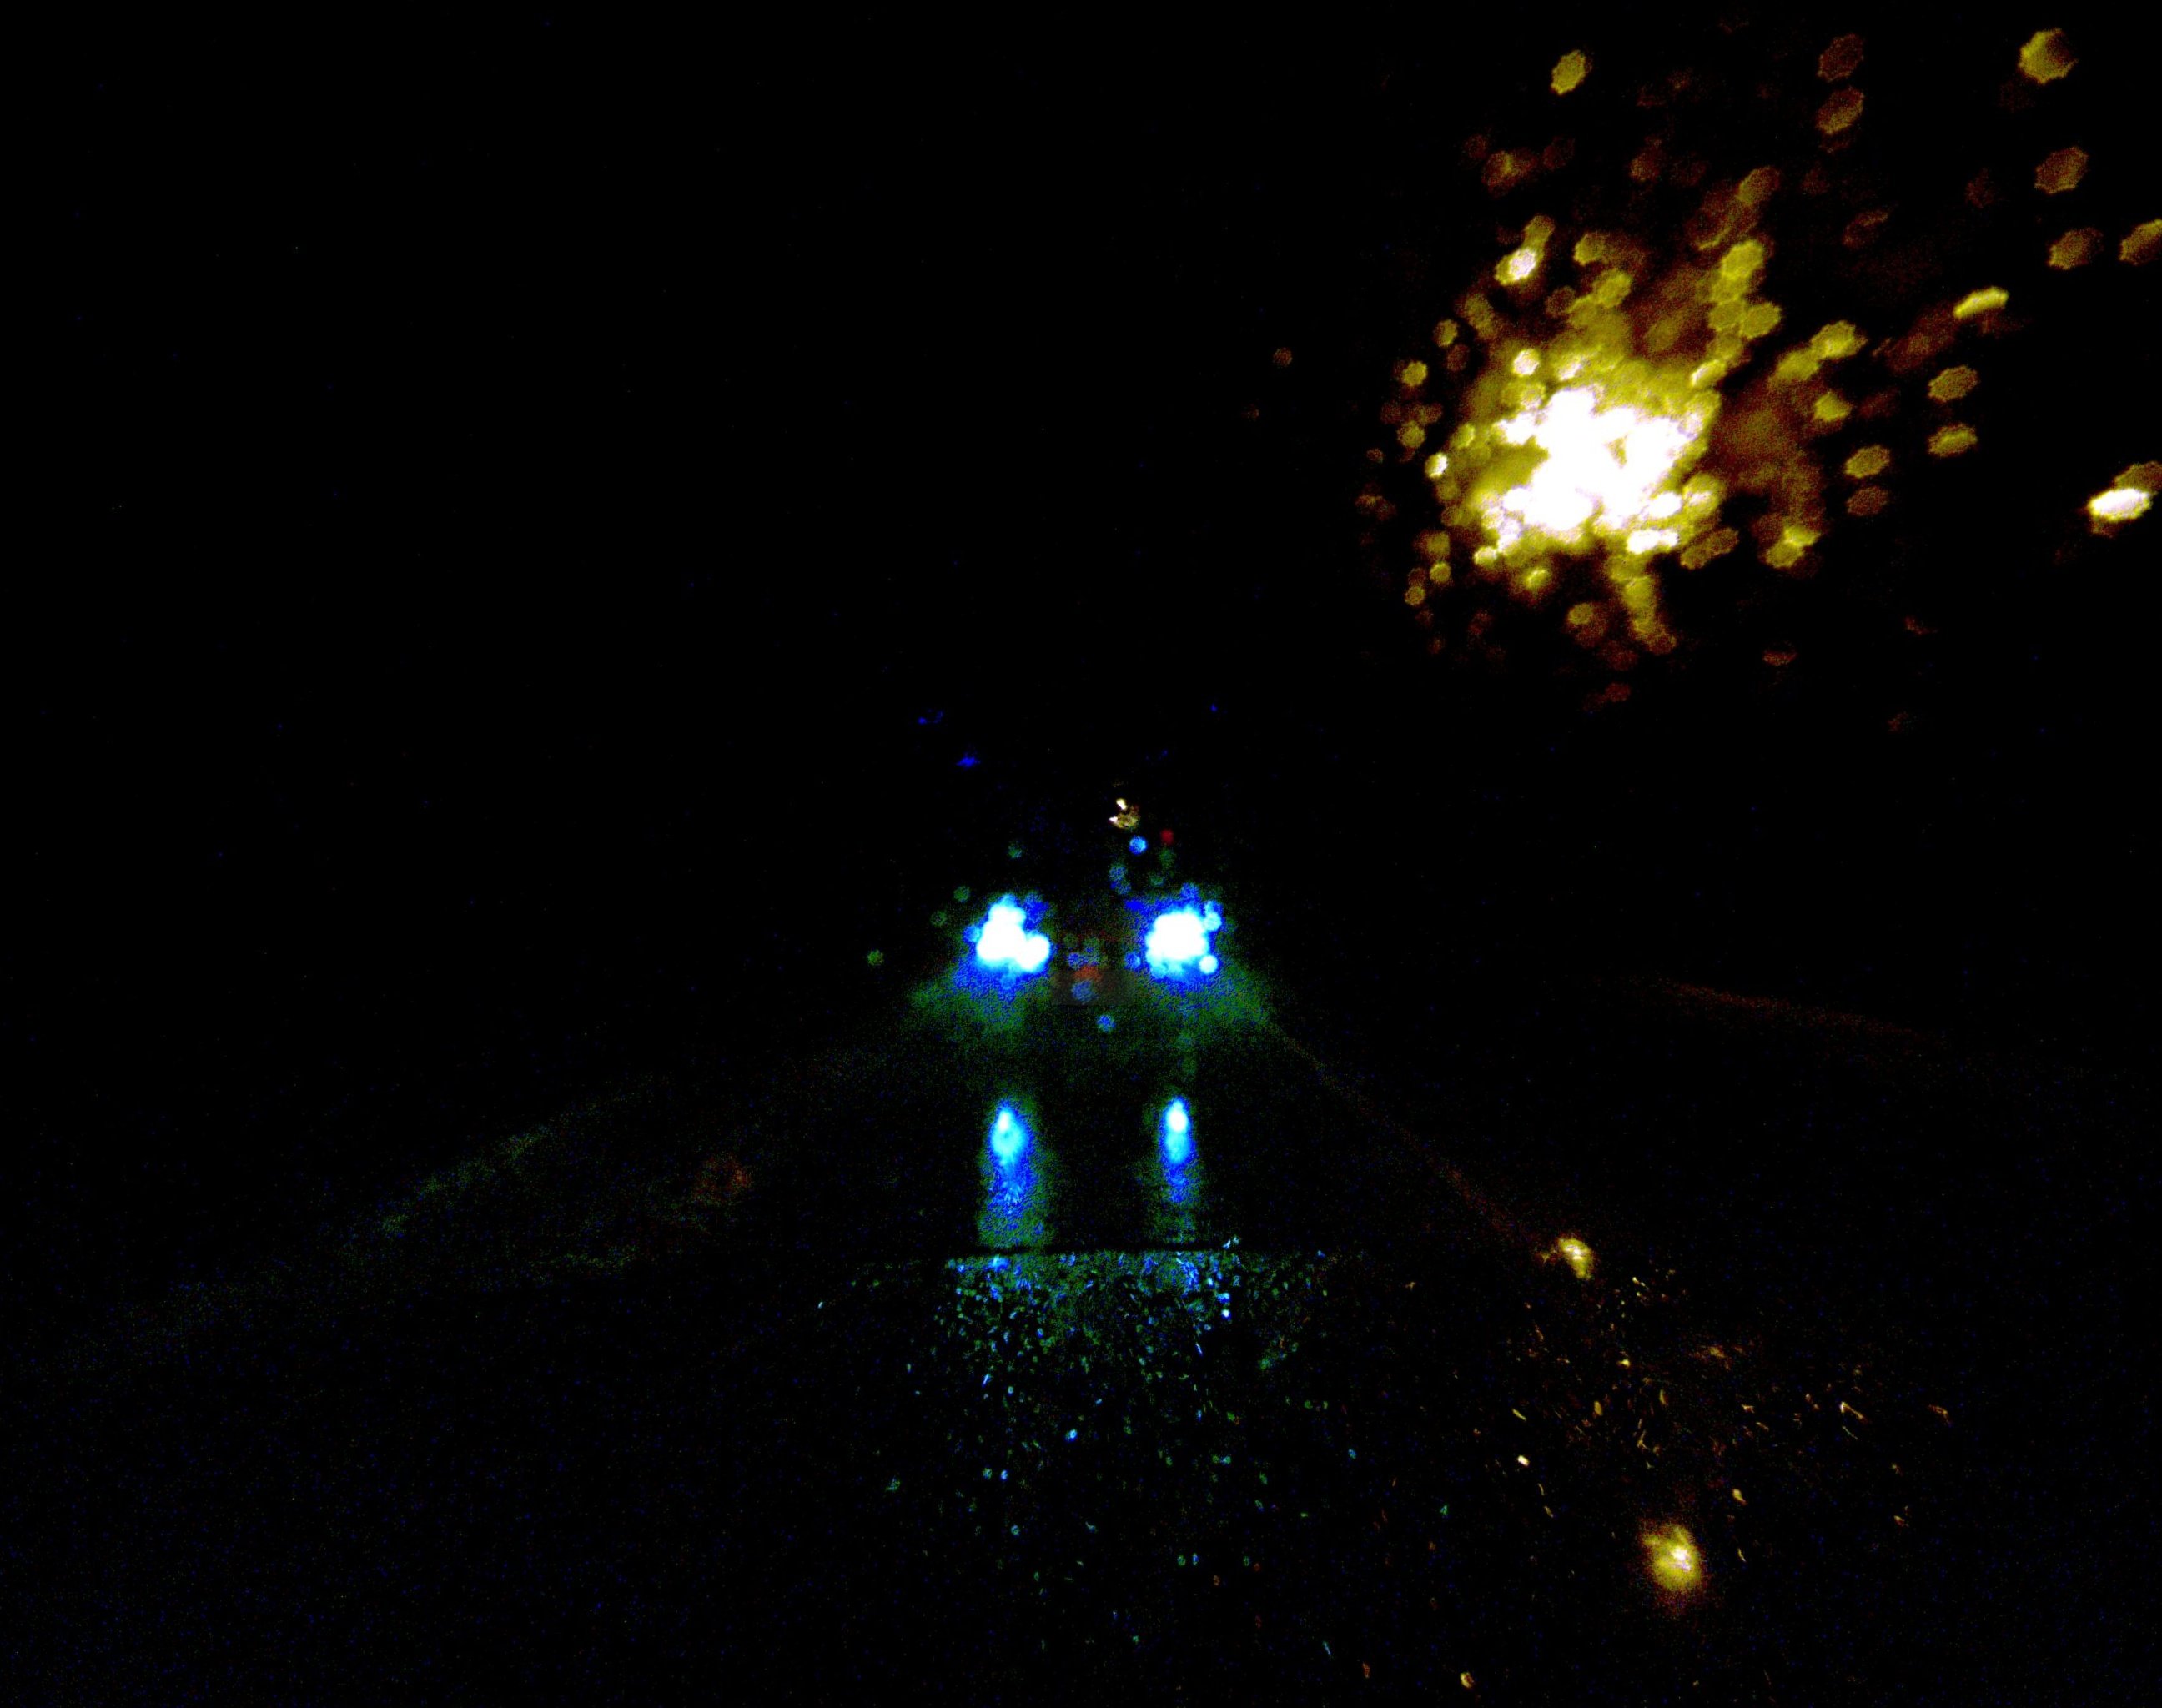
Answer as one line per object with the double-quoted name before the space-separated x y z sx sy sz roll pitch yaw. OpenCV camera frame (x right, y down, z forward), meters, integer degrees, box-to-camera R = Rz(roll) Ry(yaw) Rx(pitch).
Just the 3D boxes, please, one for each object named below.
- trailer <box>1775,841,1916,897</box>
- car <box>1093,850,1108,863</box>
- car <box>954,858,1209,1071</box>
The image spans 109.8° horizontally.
"trailer" 33.494 0.599 33.432 3.801 2.206 1.976 2 3 18
"car" 2.500 0.348 96.891 1.878 1.536 4.356 1 -1 1
"car" 0.045 0.873 8.269 1.944 1.580 4.775 -1 0 1
